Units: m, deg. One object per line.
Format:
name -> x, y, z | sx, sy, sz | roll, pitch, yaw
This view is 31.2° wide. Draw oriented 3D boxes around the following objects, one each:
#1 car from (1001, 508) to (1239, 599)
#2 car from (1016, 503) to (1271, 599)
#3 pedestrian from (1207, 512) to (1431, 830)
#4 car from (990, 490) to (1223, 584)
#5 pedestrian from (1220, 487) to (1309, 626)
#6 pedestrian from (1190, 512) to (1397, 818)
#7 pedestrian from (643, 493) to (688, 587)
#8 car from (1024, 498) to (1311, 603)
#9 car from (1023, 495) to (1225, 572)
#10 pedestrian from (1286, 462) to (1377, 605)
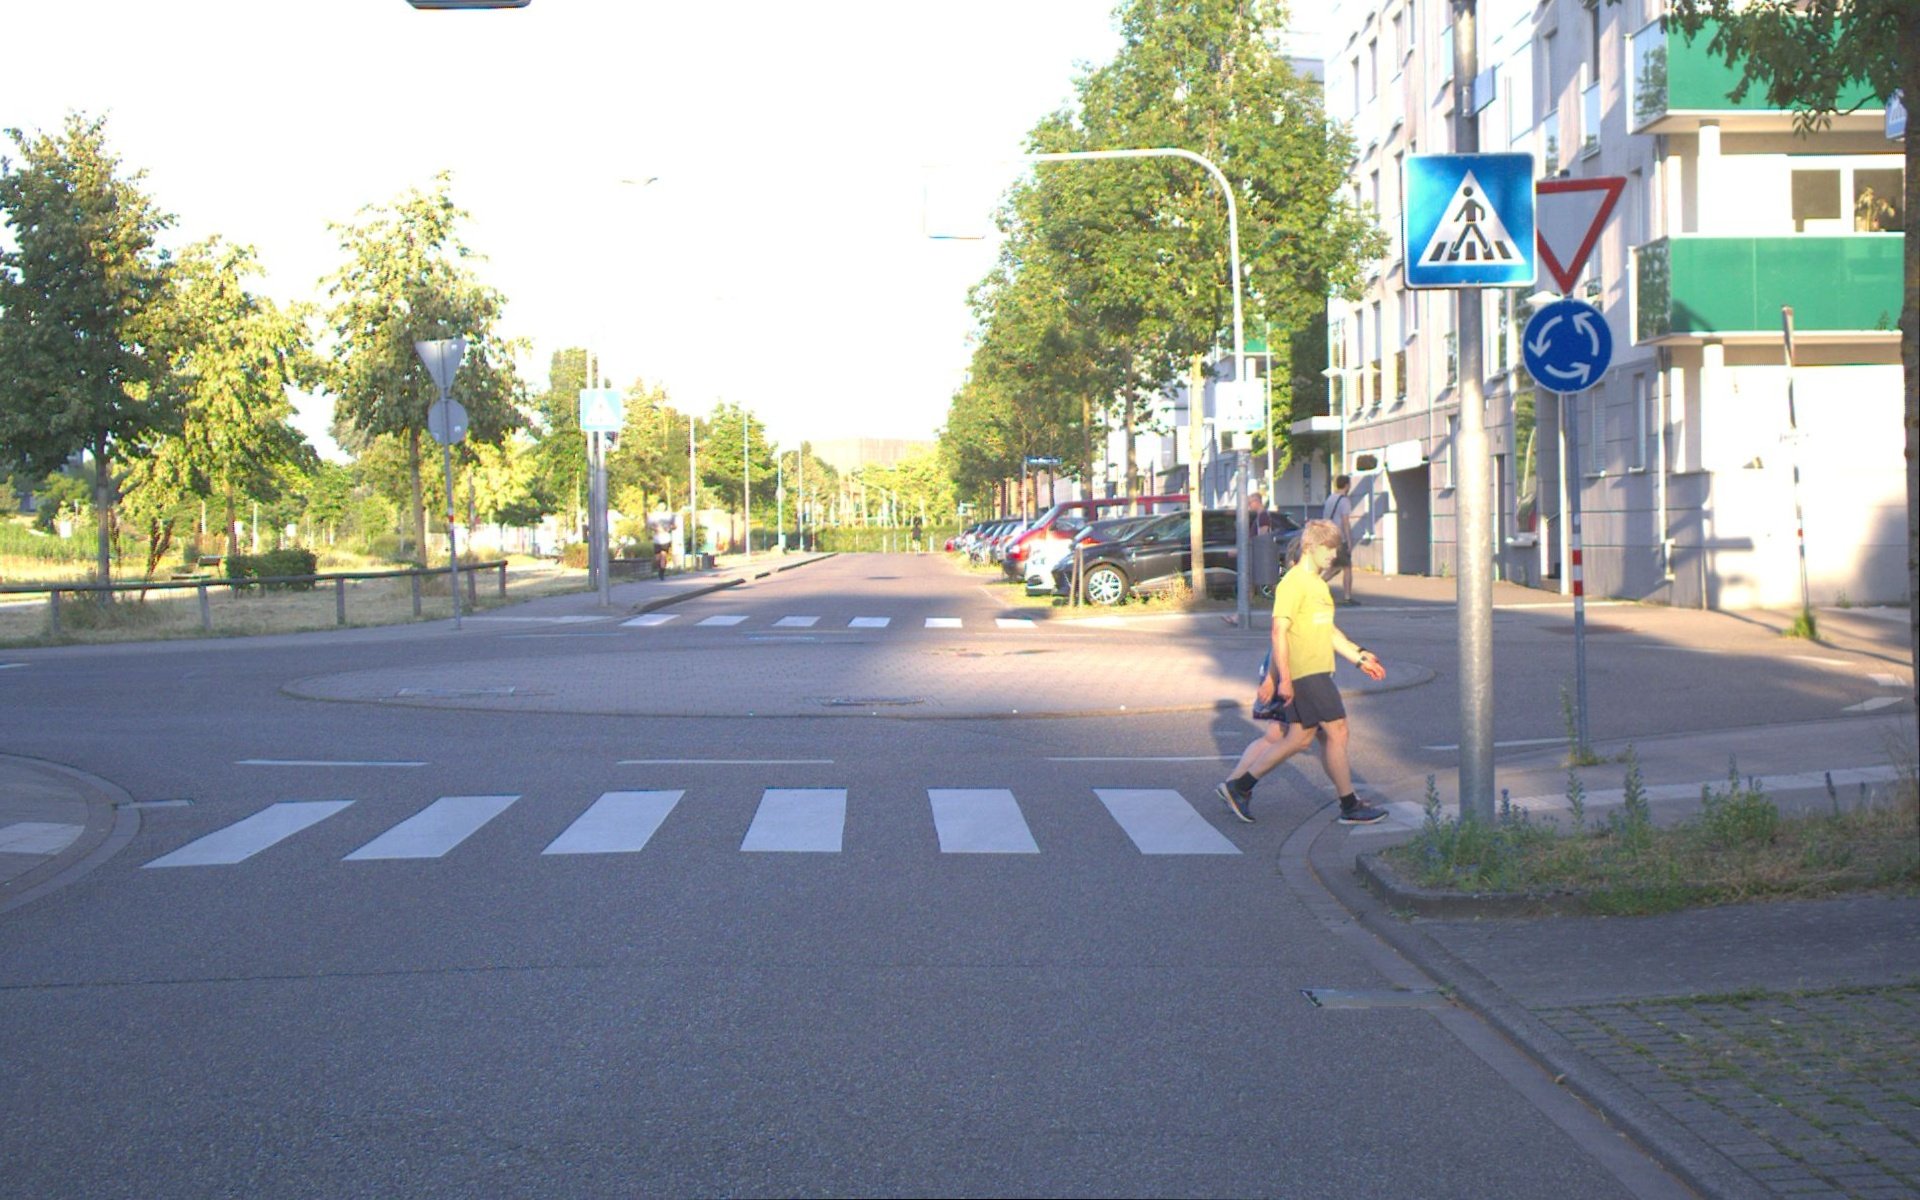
car -> 2.891, -0.859, 63.000 | 4.263, 1.590, 2.000 | -1, 1, 1
car -> 3.182, -0.872, 60.267 | 4.355, 1.590, 2.000 | -1, 1, 1
pedestrian -> 1.961, 0.372, 18.855 | 1.018, 1.687, 0.760 | -1, 1, -11
car -> 3.305, -1.437, 78.280 | 5.002, 2.038, 2.251 | -1, 1, -5
pedestrian -> 3.972, -0.570, 44.902 | 1.003, 1.782, 0.762 | 0, 1, -7
pedestrian -> 1.891, 0.350, 19.551 | 0.983, 1.687, 0.700 | -1, 1, -12
pedestrian -> -6.356, -1.303, 74.173 | 0.866, 2.007, 0.790 | -1, 1, -11
car -> 3.283, -0.807, 55.116 | 4.484, 1.590, 2.000 | -1, 1, 1
car -> 3.567, -1.462, 75.224 | 4.263, 1.590, 2.000 | -1, 1, -1
pedestrian -> 5.304, -0.951, 49.061 | 0.847, 2.007, 0.943 | -2, 2, -45
